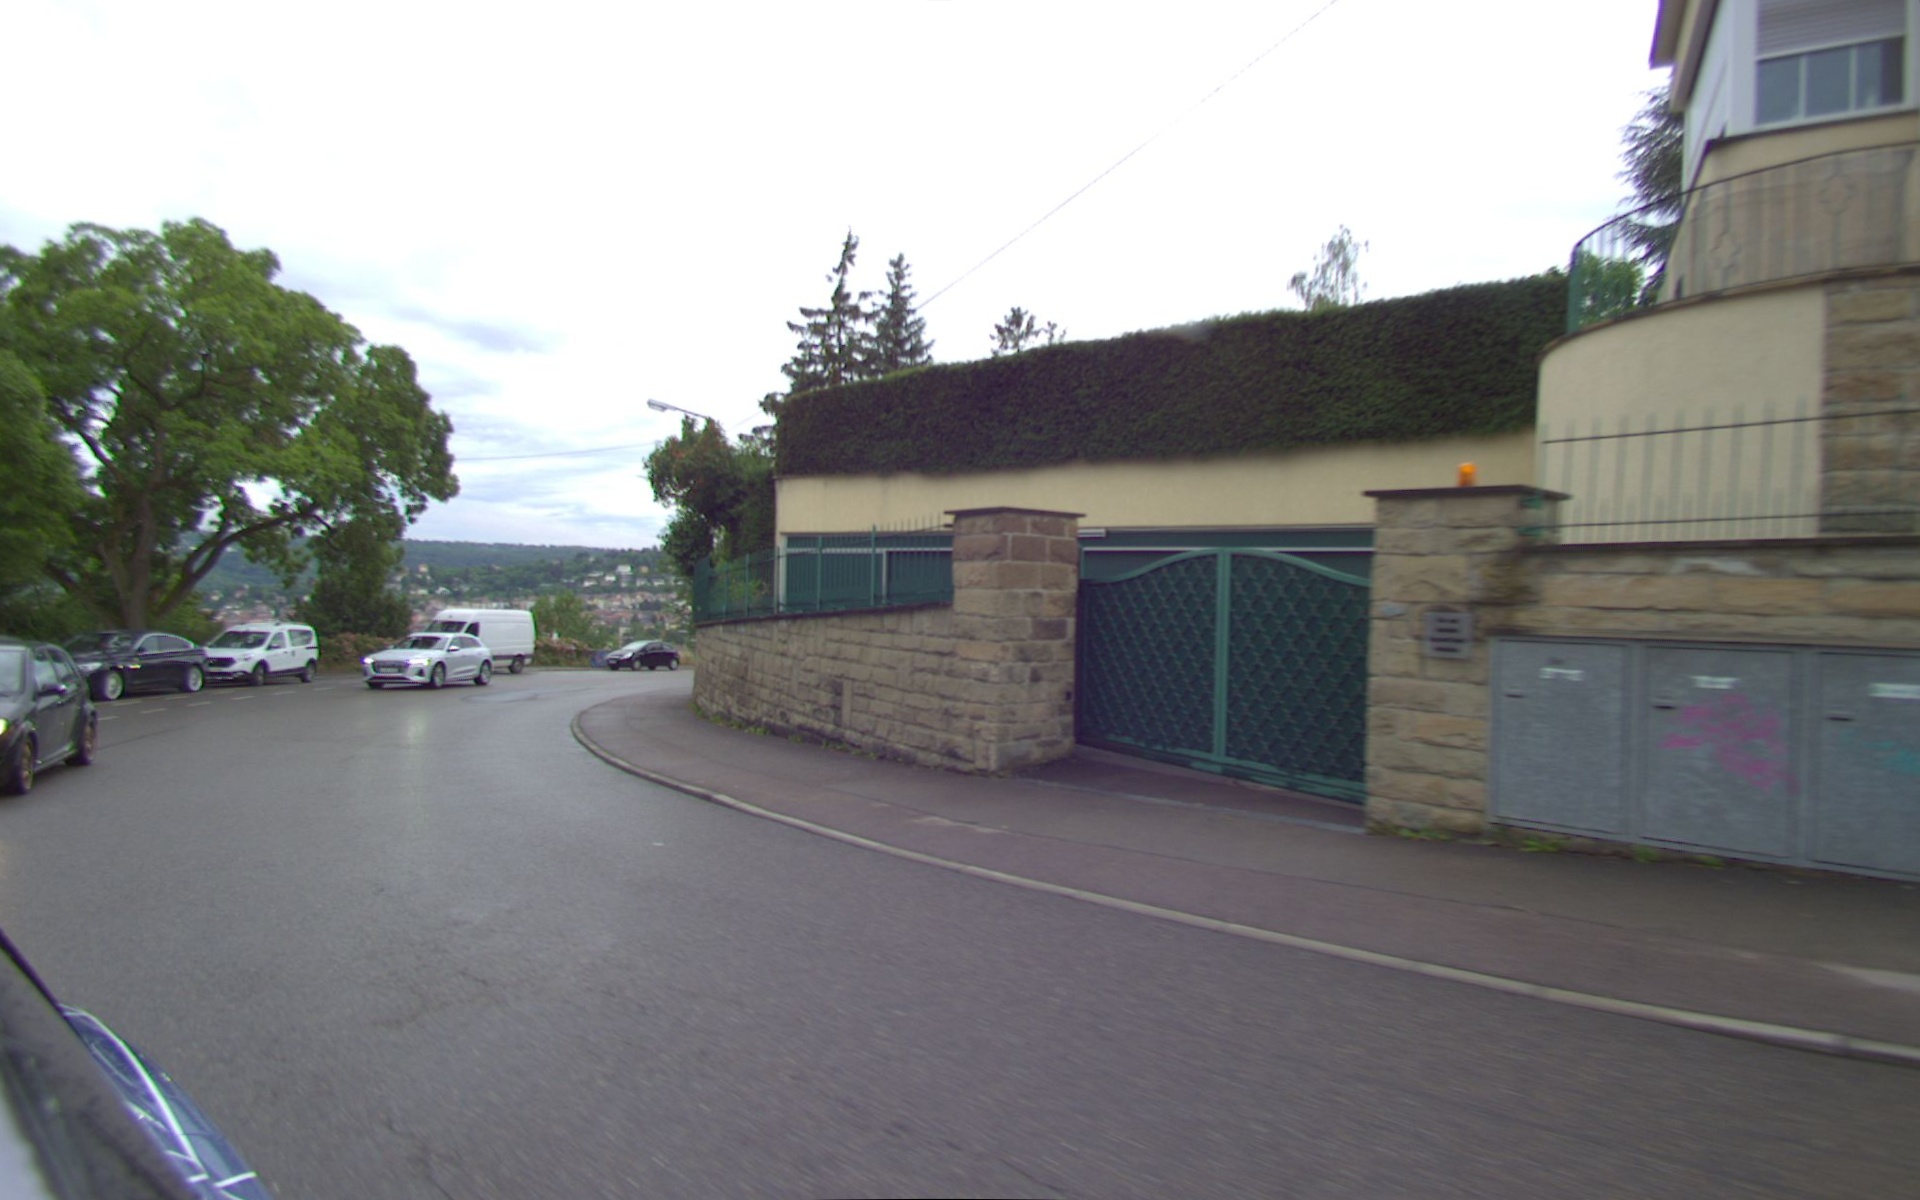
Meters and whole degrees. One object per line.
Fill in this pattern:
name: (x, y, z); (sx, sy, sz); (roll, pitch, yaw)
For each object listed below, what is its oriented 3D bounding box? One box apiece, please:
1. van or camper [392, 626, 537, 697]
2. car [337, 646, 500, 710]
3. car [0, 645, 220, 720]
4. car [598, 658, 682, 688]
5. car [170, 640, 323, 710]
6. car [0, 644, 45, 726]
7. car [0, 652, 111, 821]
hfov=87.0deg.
van or camper: (-19.768, 2.380, 40.785); (2.052, 2.600, 5.864); (0, -2, 12)
car: (-15.988, 2.292, 30.254); (2.162, 1.721, 4.880); (1, -3, 1)
car: (-19.946, 1.873, 23.952); (1.836, 1.554, 4.903); (1, -2, -8)
car: (-15.889, 3.623, 50.412); (1.693, 1.455, 3.909); (-2, -4, 28)
car: (-20.619, 2.115, 29.487); (1.725, 1.835, 4.430); (2, -3, -7)
car: (-18.485, 1.538, 17.882); (1.710, 1.515, 4.147); (2, -3, -15)
car: (-10.343, 1.291, 10.351); (1.754, 1.497, 4.418); (2, -3, -30)
